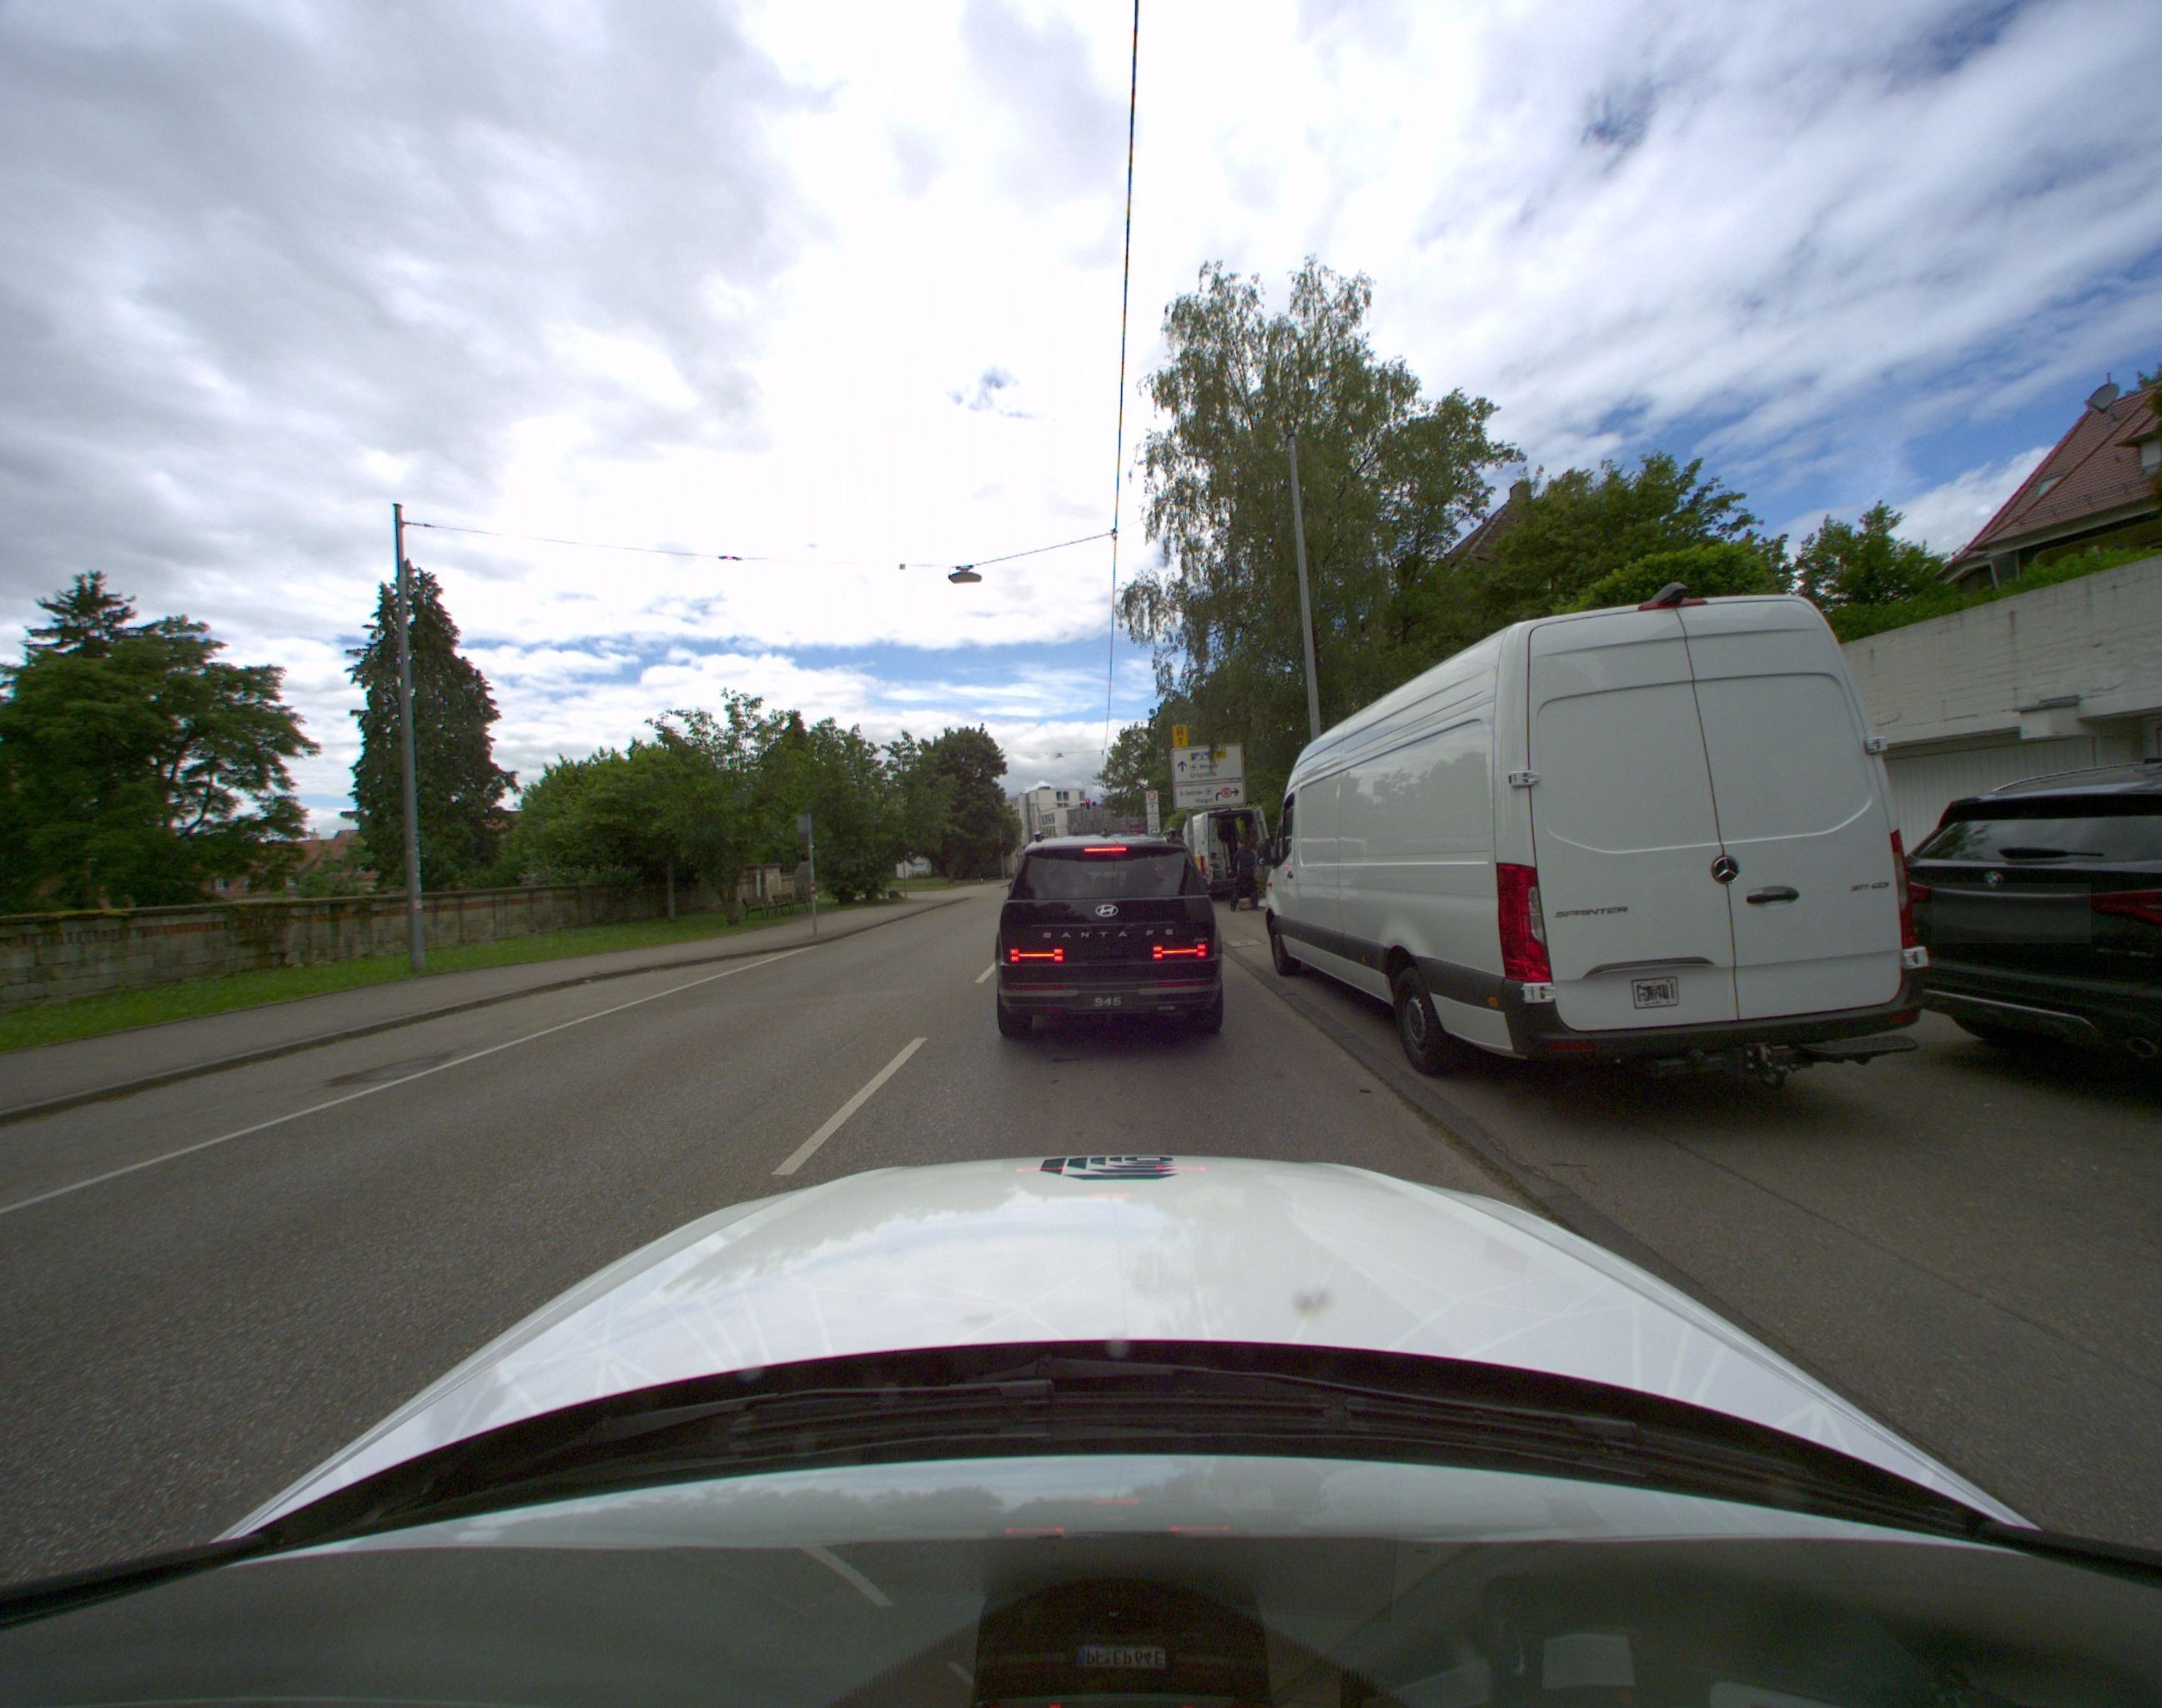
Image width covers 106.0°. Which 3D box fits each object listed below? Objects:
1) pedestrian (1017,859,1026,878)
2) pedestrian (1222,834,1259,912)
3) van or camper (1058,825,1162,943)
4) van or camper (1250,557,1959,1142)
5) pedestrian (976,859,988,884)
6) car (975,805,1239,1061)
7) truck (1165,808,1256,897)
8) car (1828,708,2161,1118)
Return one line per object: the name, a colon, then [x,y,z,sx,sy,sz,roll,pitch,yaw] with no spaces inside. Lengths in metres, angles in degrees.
pedestrian: [-5.704,1.400,78.391,0.737,1.715,0.791,-3,0,-5]
pedestrian: [3.797,0.445,19.390,0.752,1.797,0.875,-3,0,11]
van or camper: [0.583,0.539,16.472,1.748,2.013,4.002,-3,0,2]
van or camper: [3.102,-0.012,7.059,1.986,2.620,6.543,-3,0,2]
pedestrian: [-7.145,1.245,58.624,0.737,1.715,0.791,-3,0,-5]
car: [0.248,0.584,7.952,1.883,1.819,4.002,-2,0,2]
truck: [4.210,-0.006,27.380,1.937,2.561,5.213,-5,-1,-1]
car: [6.831,0.141,4.090,4.398,1.750,1.739,-3,0,3]
